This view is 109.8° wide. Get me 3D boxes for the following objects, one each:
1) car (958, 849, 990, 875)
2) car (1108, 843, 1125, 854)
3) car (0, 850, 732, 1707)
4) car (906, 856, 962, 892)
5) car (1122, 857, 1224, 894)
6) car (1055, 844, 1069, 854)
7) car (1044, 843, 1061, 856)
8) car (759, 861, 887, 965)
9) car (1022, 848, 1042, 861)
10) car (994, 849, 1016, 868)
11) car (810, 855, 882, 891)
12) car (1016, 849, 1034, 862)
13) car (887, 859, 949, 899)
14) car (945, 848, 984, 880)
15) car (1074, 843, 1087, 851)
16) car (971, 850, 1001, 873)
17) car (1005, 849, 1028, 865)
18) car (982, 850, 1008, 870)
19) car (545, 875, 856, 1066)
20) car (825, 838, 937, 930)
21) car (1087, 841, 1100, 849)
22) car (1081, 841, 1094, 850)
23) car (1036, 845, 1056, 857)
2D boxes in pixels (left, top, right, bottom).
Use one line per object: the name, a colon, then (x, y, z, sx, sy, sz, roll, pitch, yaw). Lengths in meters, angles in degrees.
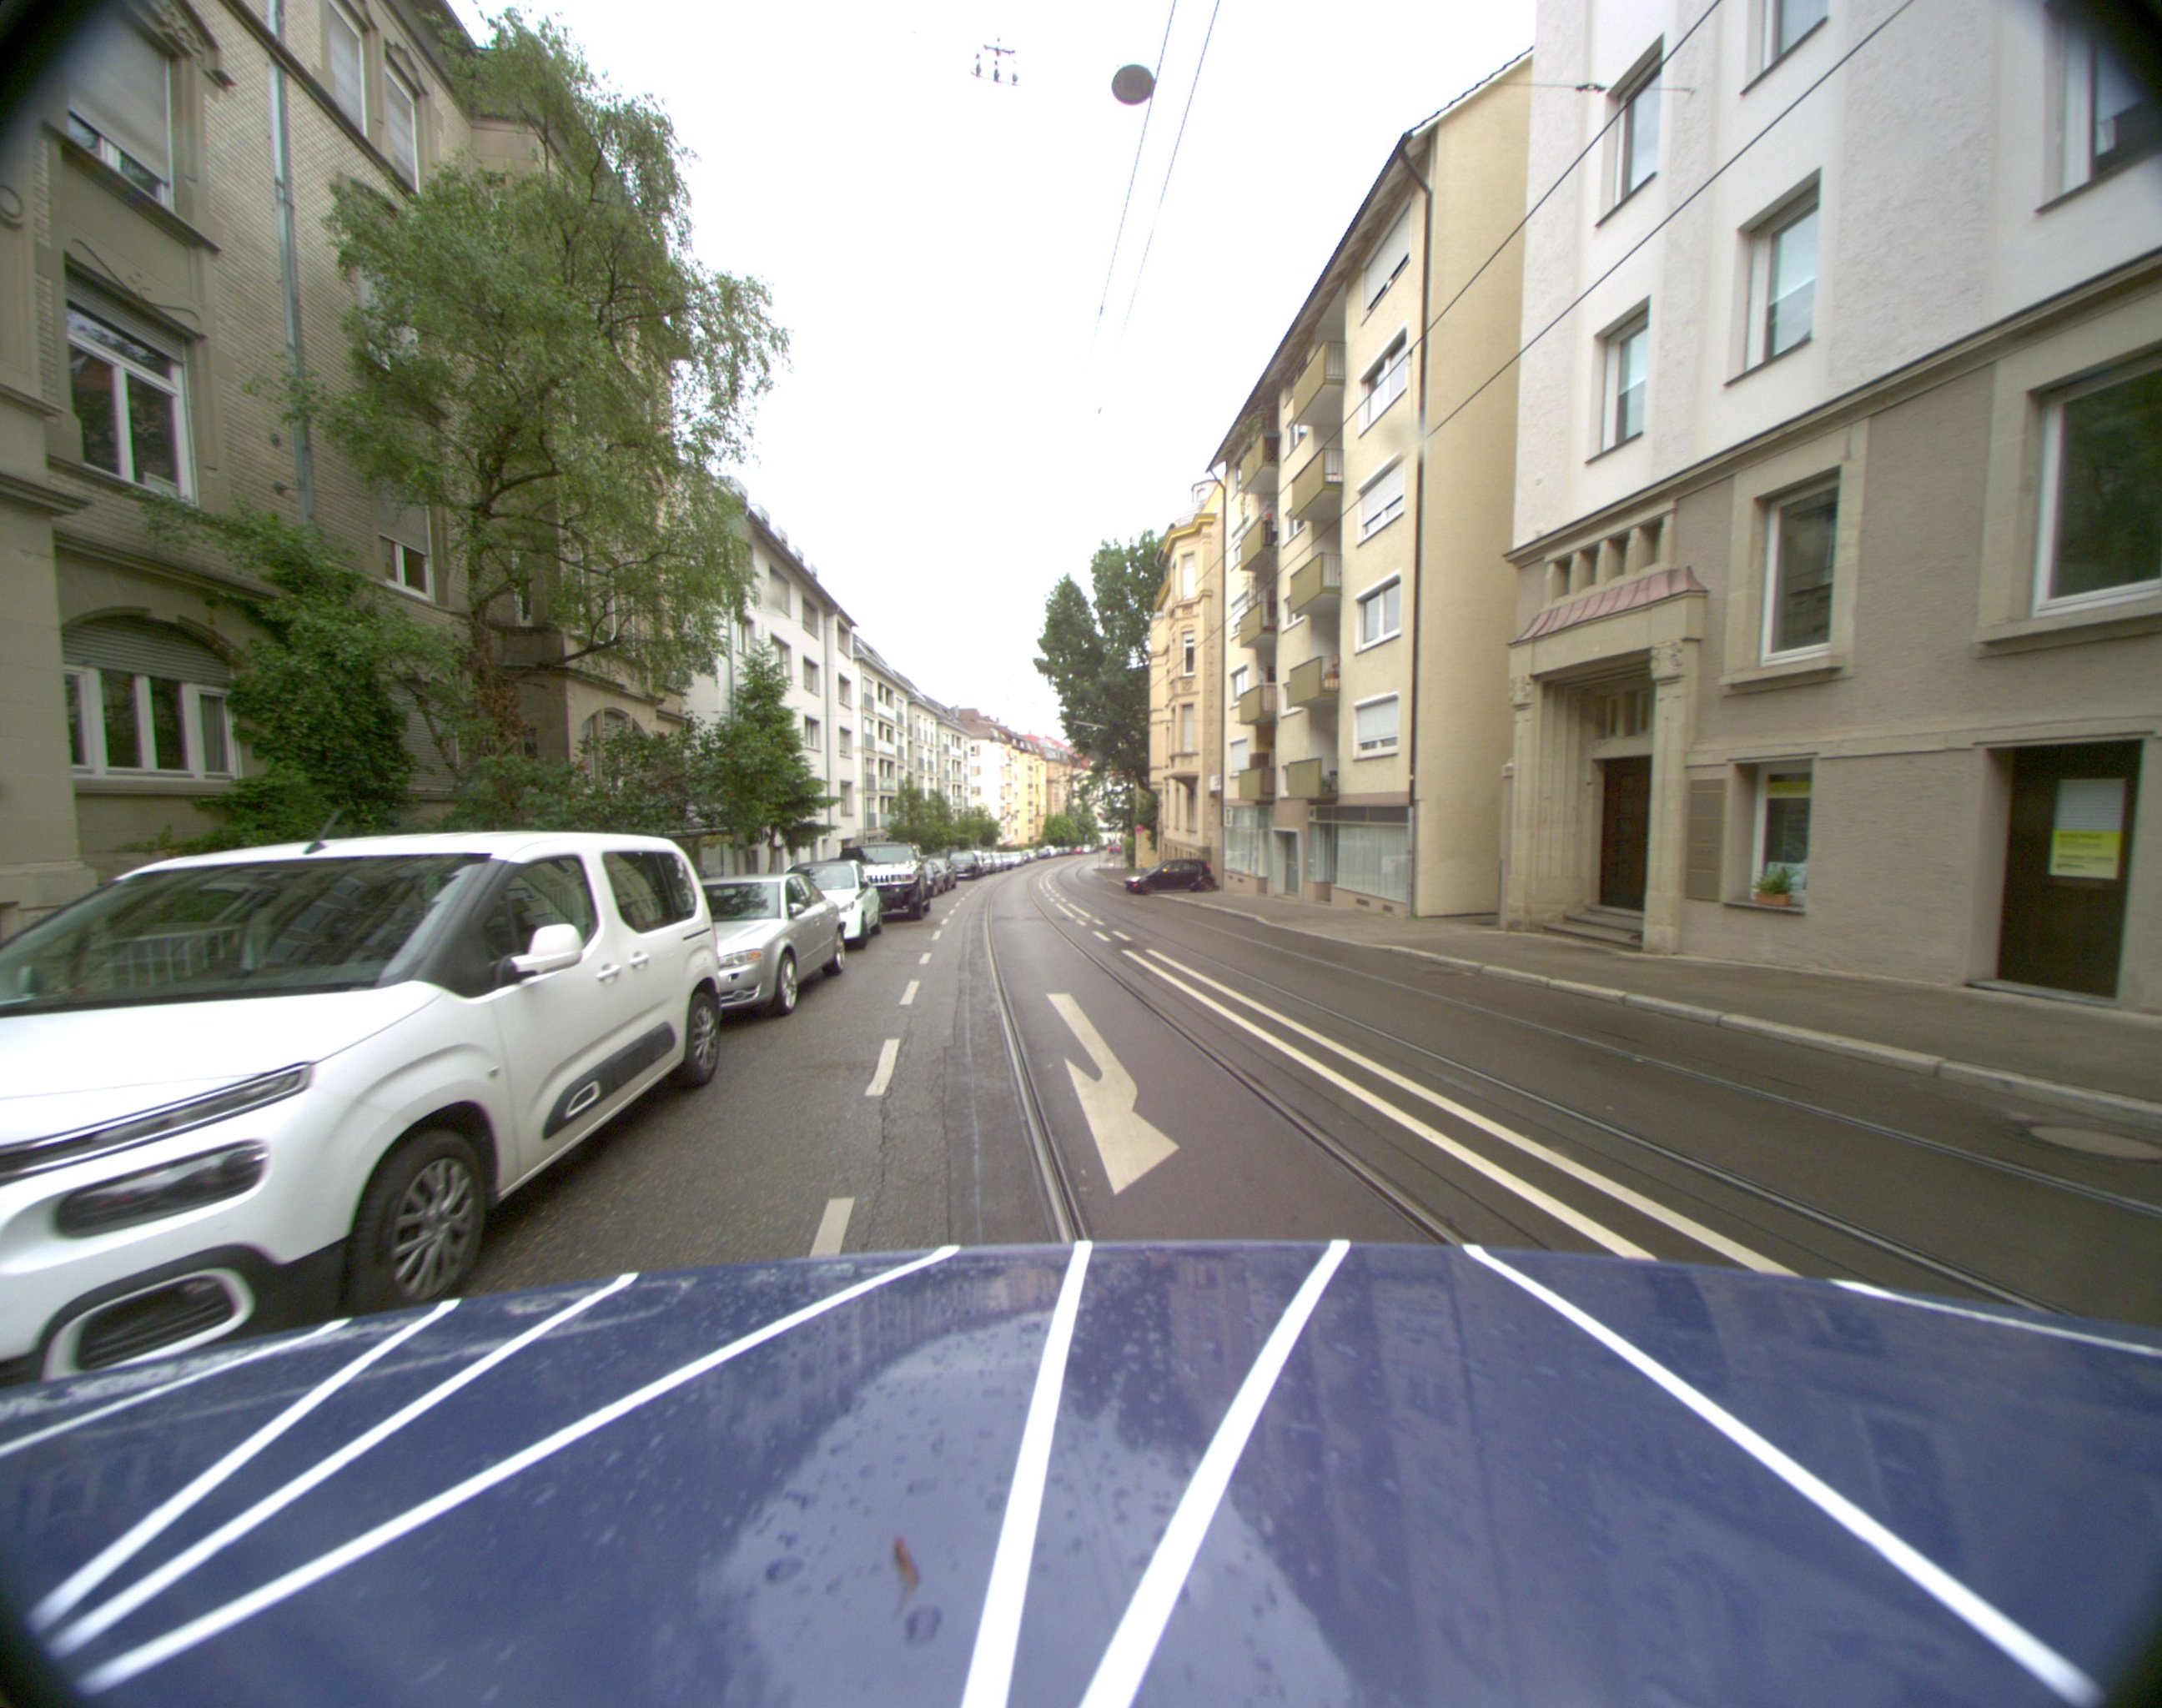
car: (-7.479, 0.523, 53.537, 1.783, 1.785, 4.469, -1, 1, -3)
car: (6.329, -0.962, 133.549, 2.067, 1.668, 4.775, 2, 2, 13)
car: (-3.306, 0.904, 3.537, 1.803, 1.755, 4.459, -3, 1, -9)
car: (-6.542, 0.852, 34.271, 1.799, 1.429, 4.609, -2, 1, -3)
car: (3.859, 0.874, 32.135, 3.999, 1.445, 1.739, -1, 1, -6)
car: (-2.918, -0.851, 117.767, 1.590, 1.434, 3.477, -2, 2, 6)
car: (-4.068, -0.661, 108.717, 1.798, 1.613, 3.868, -2, 2, 6)
car: (-4.589, 0.954, 13.987, 1.565, 1.537, 3.581, -3, 1, -9)
car: (-5.939, 0.092, 92.635, 1.721, 1.459, 4.391, -1, 1, 6)
car: (-7.073, 0.384, 70.961, 1.981, 1.576, 4.563, -1, 1, -5)
car: (-10.671, 0.826, 34.778, 1.817, 1.418, 4.153, -3, 1, 2)
car: (-6.483, 0.211, 87.839, 1.600, 1.416, 3.515, -1, 1, 4)
car: (-6.173, 0.925, 29.167, 1.683, 1.330, 3.881, -2, 1, -3)
car: (-7.326, 0.579, 48.036, 1.948, 1.785, 4.818, -2, 1, -4)
car: (-0.114, -1.222, 130.125, 1.556, 1.360, 3.126, -1, 2, 13)
car: (-7.438, 0.519, 59.654, 1.837, 1.647, 4.685, -1, 1, -1)
car: (-6.838, 0.292, 80.424, 1.862, 1.507, 4.789, -1, 1, 2)
car: (-7.371, 0.501, 65.292, 1.837, 1.618, 4.662, -1, 1, -2)
car: (-3.937, 1.063, 8.822, 1.754, 1.392, 4.475, -3, 1, -7)
car: (-5.077, 0.666, 20.093, 2.135, 2.002, 5.346, -3, 1, -8)
car: (2.344, -1.685, 143.364, 1.612, 1.434, 3.690, -1, 2, 13)
car: (1.275, -1.537, 138.831, 1.612, 1.434, 3.690, -1, 2, 13)
car: (-4.757, -0.425, 103.567, 1.797, 1.444, 4.104, -2, 2, 9)
